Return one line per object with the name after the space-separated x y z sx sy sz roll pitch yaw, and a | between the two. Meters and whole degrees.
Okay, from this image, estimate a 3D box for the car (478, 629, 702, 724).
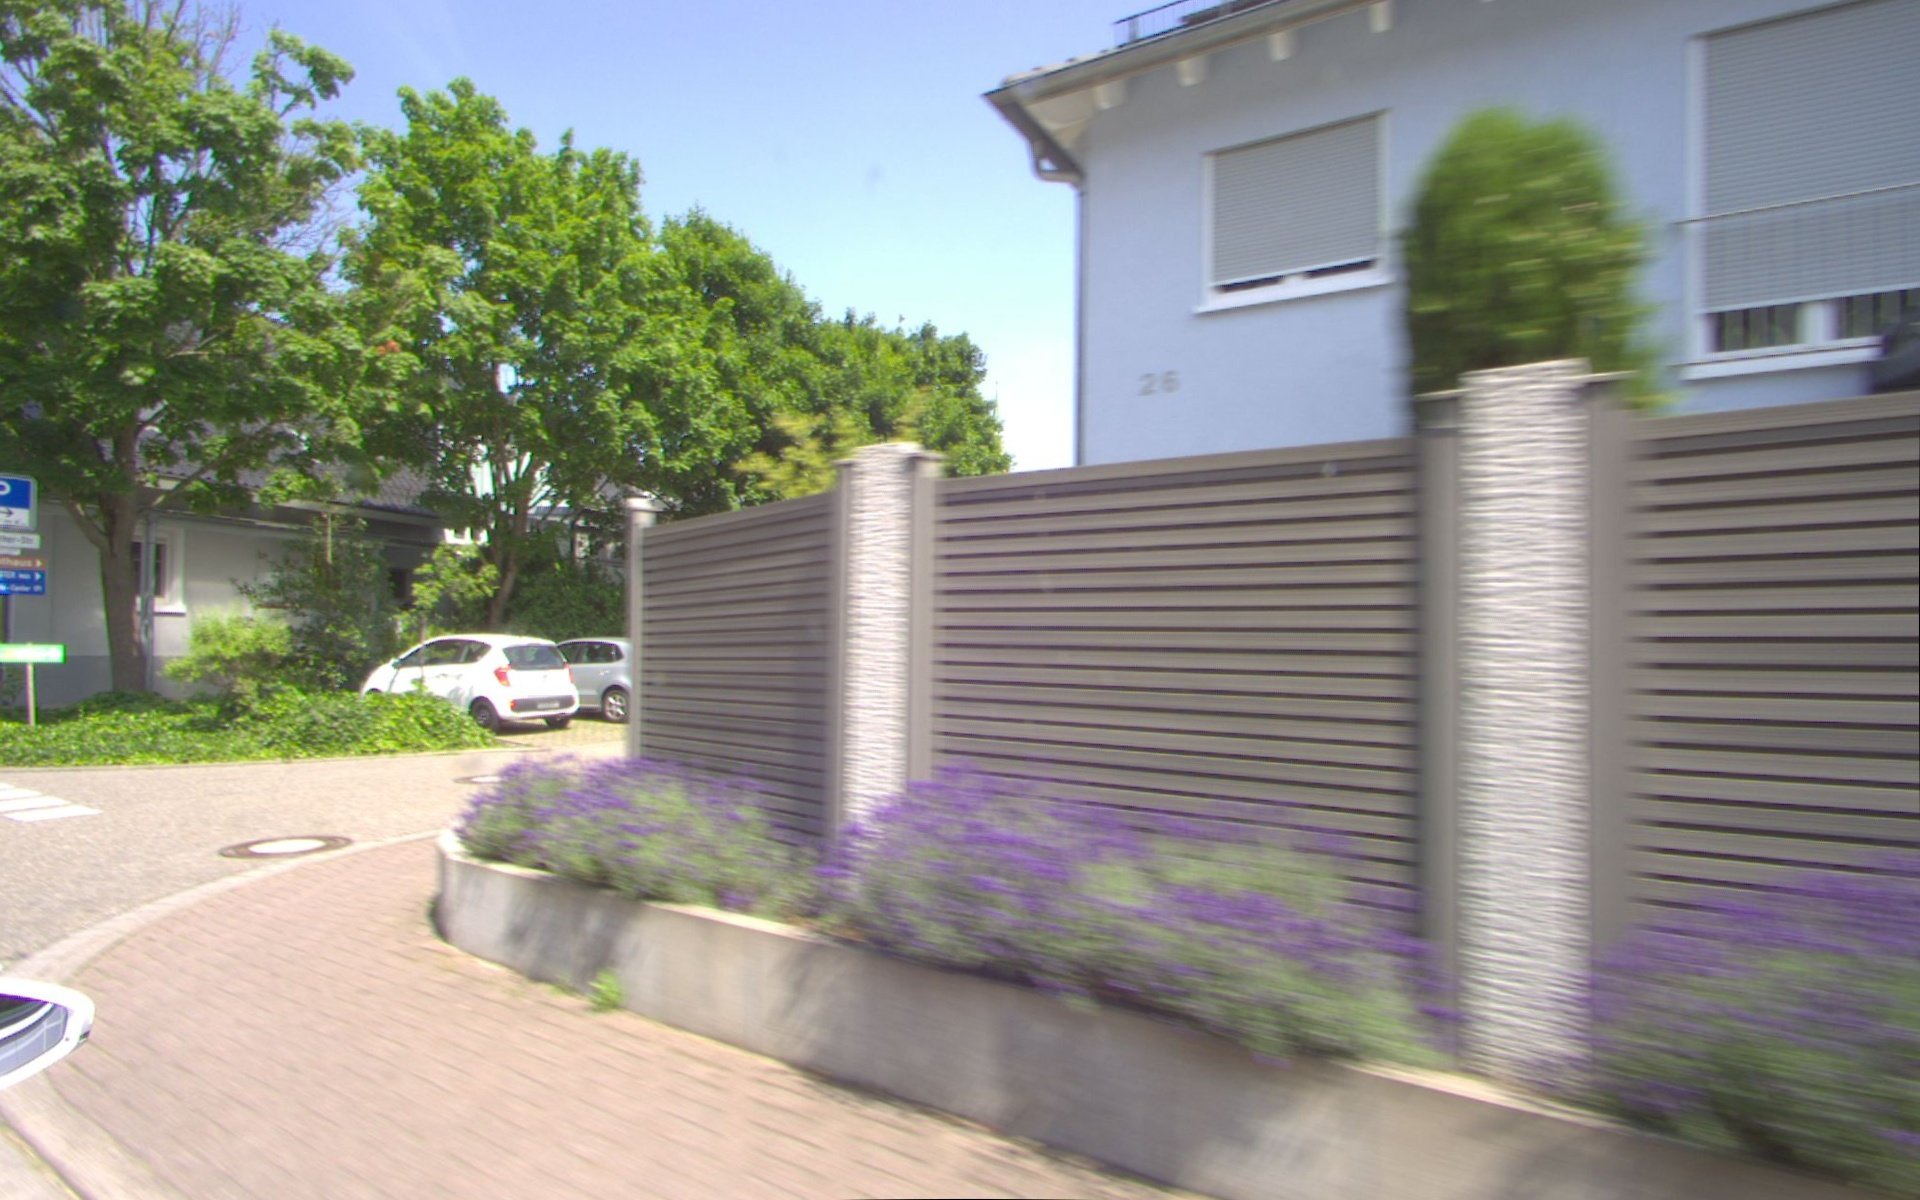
-6.831 1.358 18.491 3.798 1.492 1.593 1 -2 23 | car

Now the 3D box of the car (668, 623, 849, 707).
-4.663 1.460 23.191 3.796 1.705 1.594 1 -1 20 | car

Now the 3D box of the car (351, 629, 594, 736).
-7.810 1.256 16.057 3.507 1.463 1.593 1 -1 24 | car
